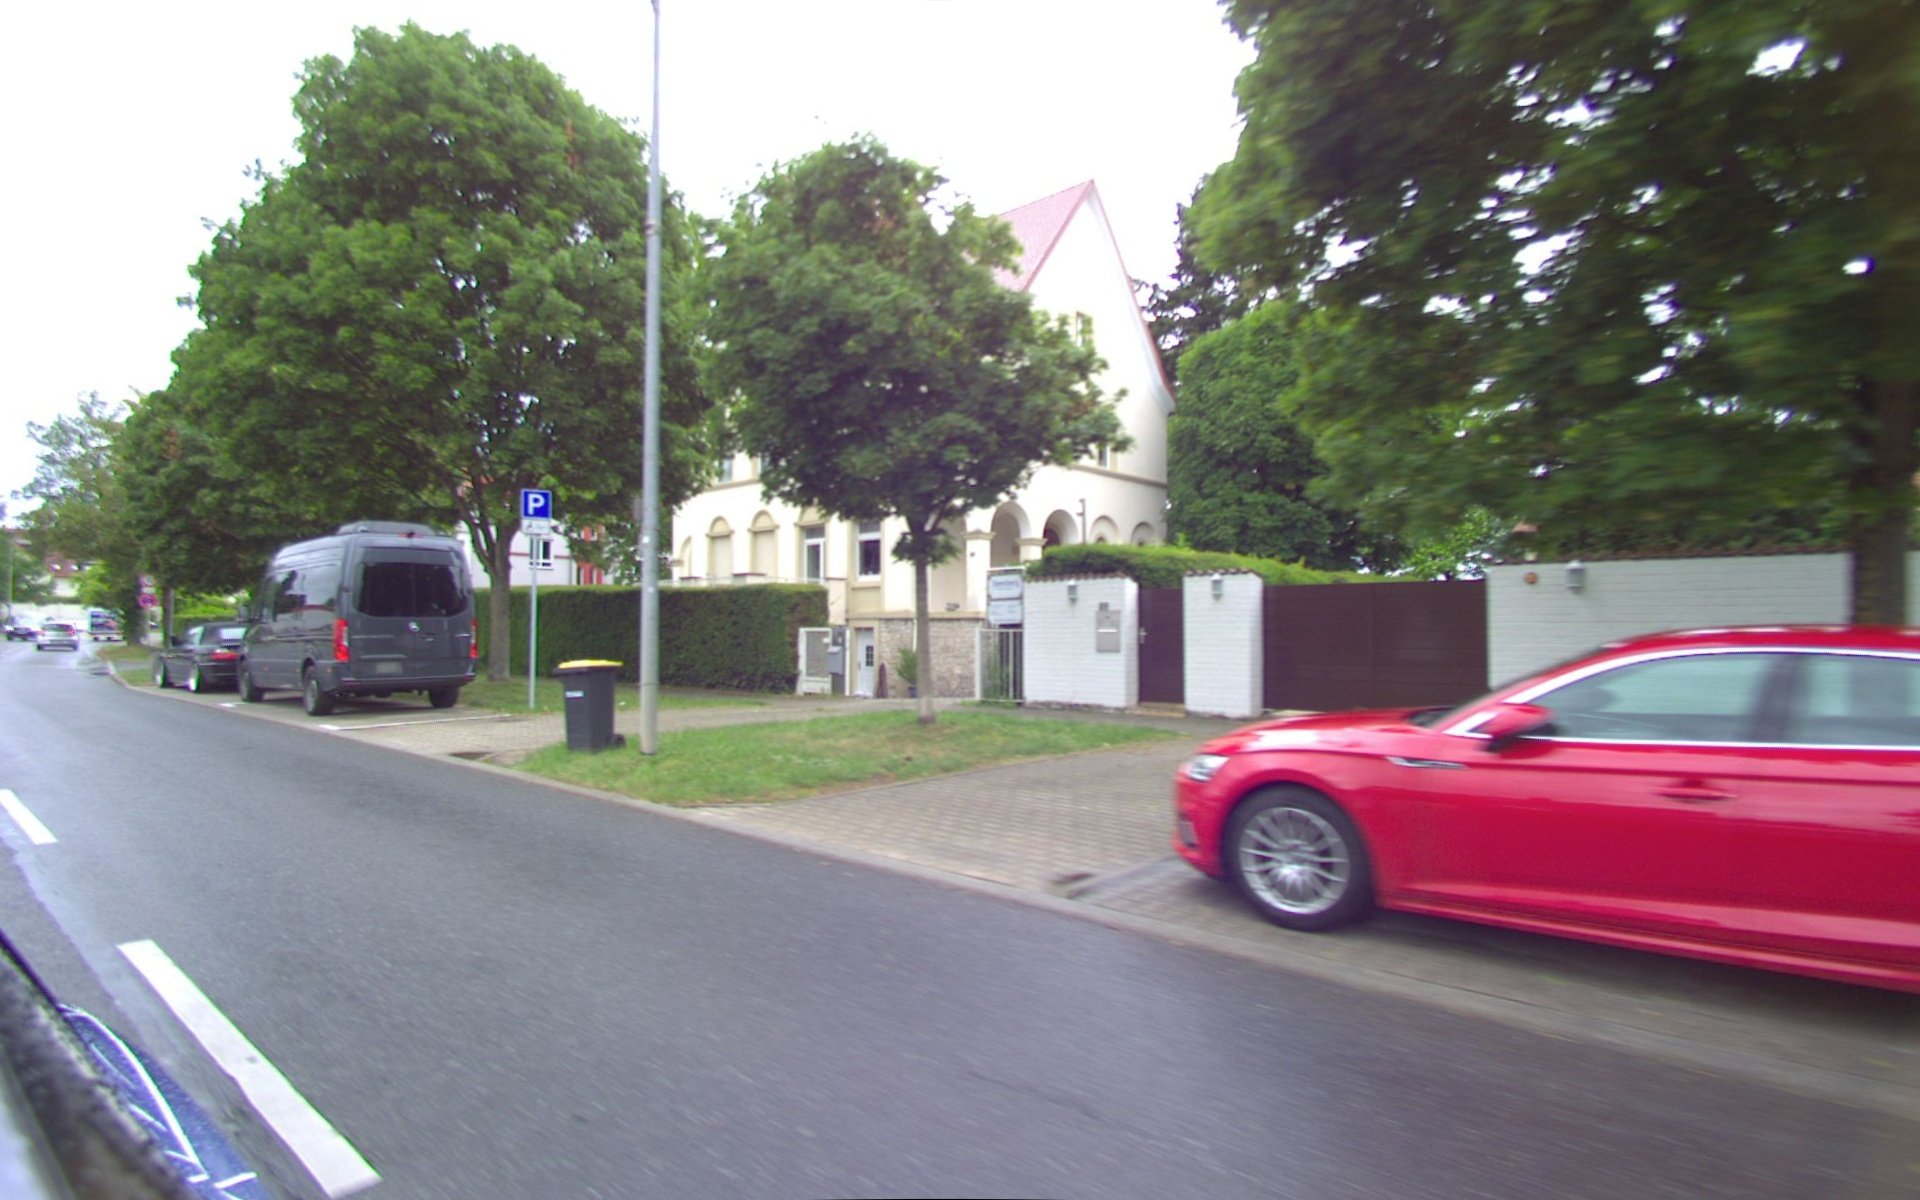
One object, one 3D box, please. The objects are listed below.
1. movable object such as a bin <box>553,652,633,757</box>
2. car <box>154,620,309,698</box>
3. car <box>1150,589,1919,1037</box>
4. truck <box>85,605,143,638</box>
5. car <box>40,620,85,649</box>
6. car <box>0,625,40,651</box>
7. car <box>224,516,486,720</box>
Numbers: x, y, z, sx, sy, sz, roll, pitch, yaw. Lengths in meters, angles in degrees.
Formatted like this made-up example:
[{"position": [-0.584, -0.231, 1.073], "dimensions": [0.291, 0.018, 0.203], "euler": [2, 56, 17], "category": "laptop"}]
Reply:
[{"position": [-3.588, 1.000, 9.896], "dimensions": [0.550, 0.960, 0.551], "euler": [-2, -2, 45], "category": "movable object such as a bin"}, {"position": [-14.778, 1.144, 20.467], "dimensions": [3.823, 1.419, 1.705], "euler": [-2, -3, 41], "category": "car"}, {"position": [3.302, 0.699, 4.283], "dimensions": [4.554, 1.414, 1.973], "euler": [-2, -2, 41], "category": "car"}, {"position": [-60.701, 1.583, 72.733], "dimensions": [2.186, 2.220, 6.483], "euler": [1, -2, -31], "category": "truck"}, {"position": [-46.630, 1.785, 52.601], "dimensions": [1.574, 1.475, 3.459], "euler": [1, -2, -39], "category": "car"}, {"position": [-61.265, 2.447, 65.860], "dimensions": [1.812, 1.562, 4.008], "euler": [1, -2, -38], "category": "car"}, {"position": [-9.939, 0.309, 16.353], "dimensions": [5.936, 2.749, 1.972], "euler": [-2, -1, 42], "category": "car"}]
